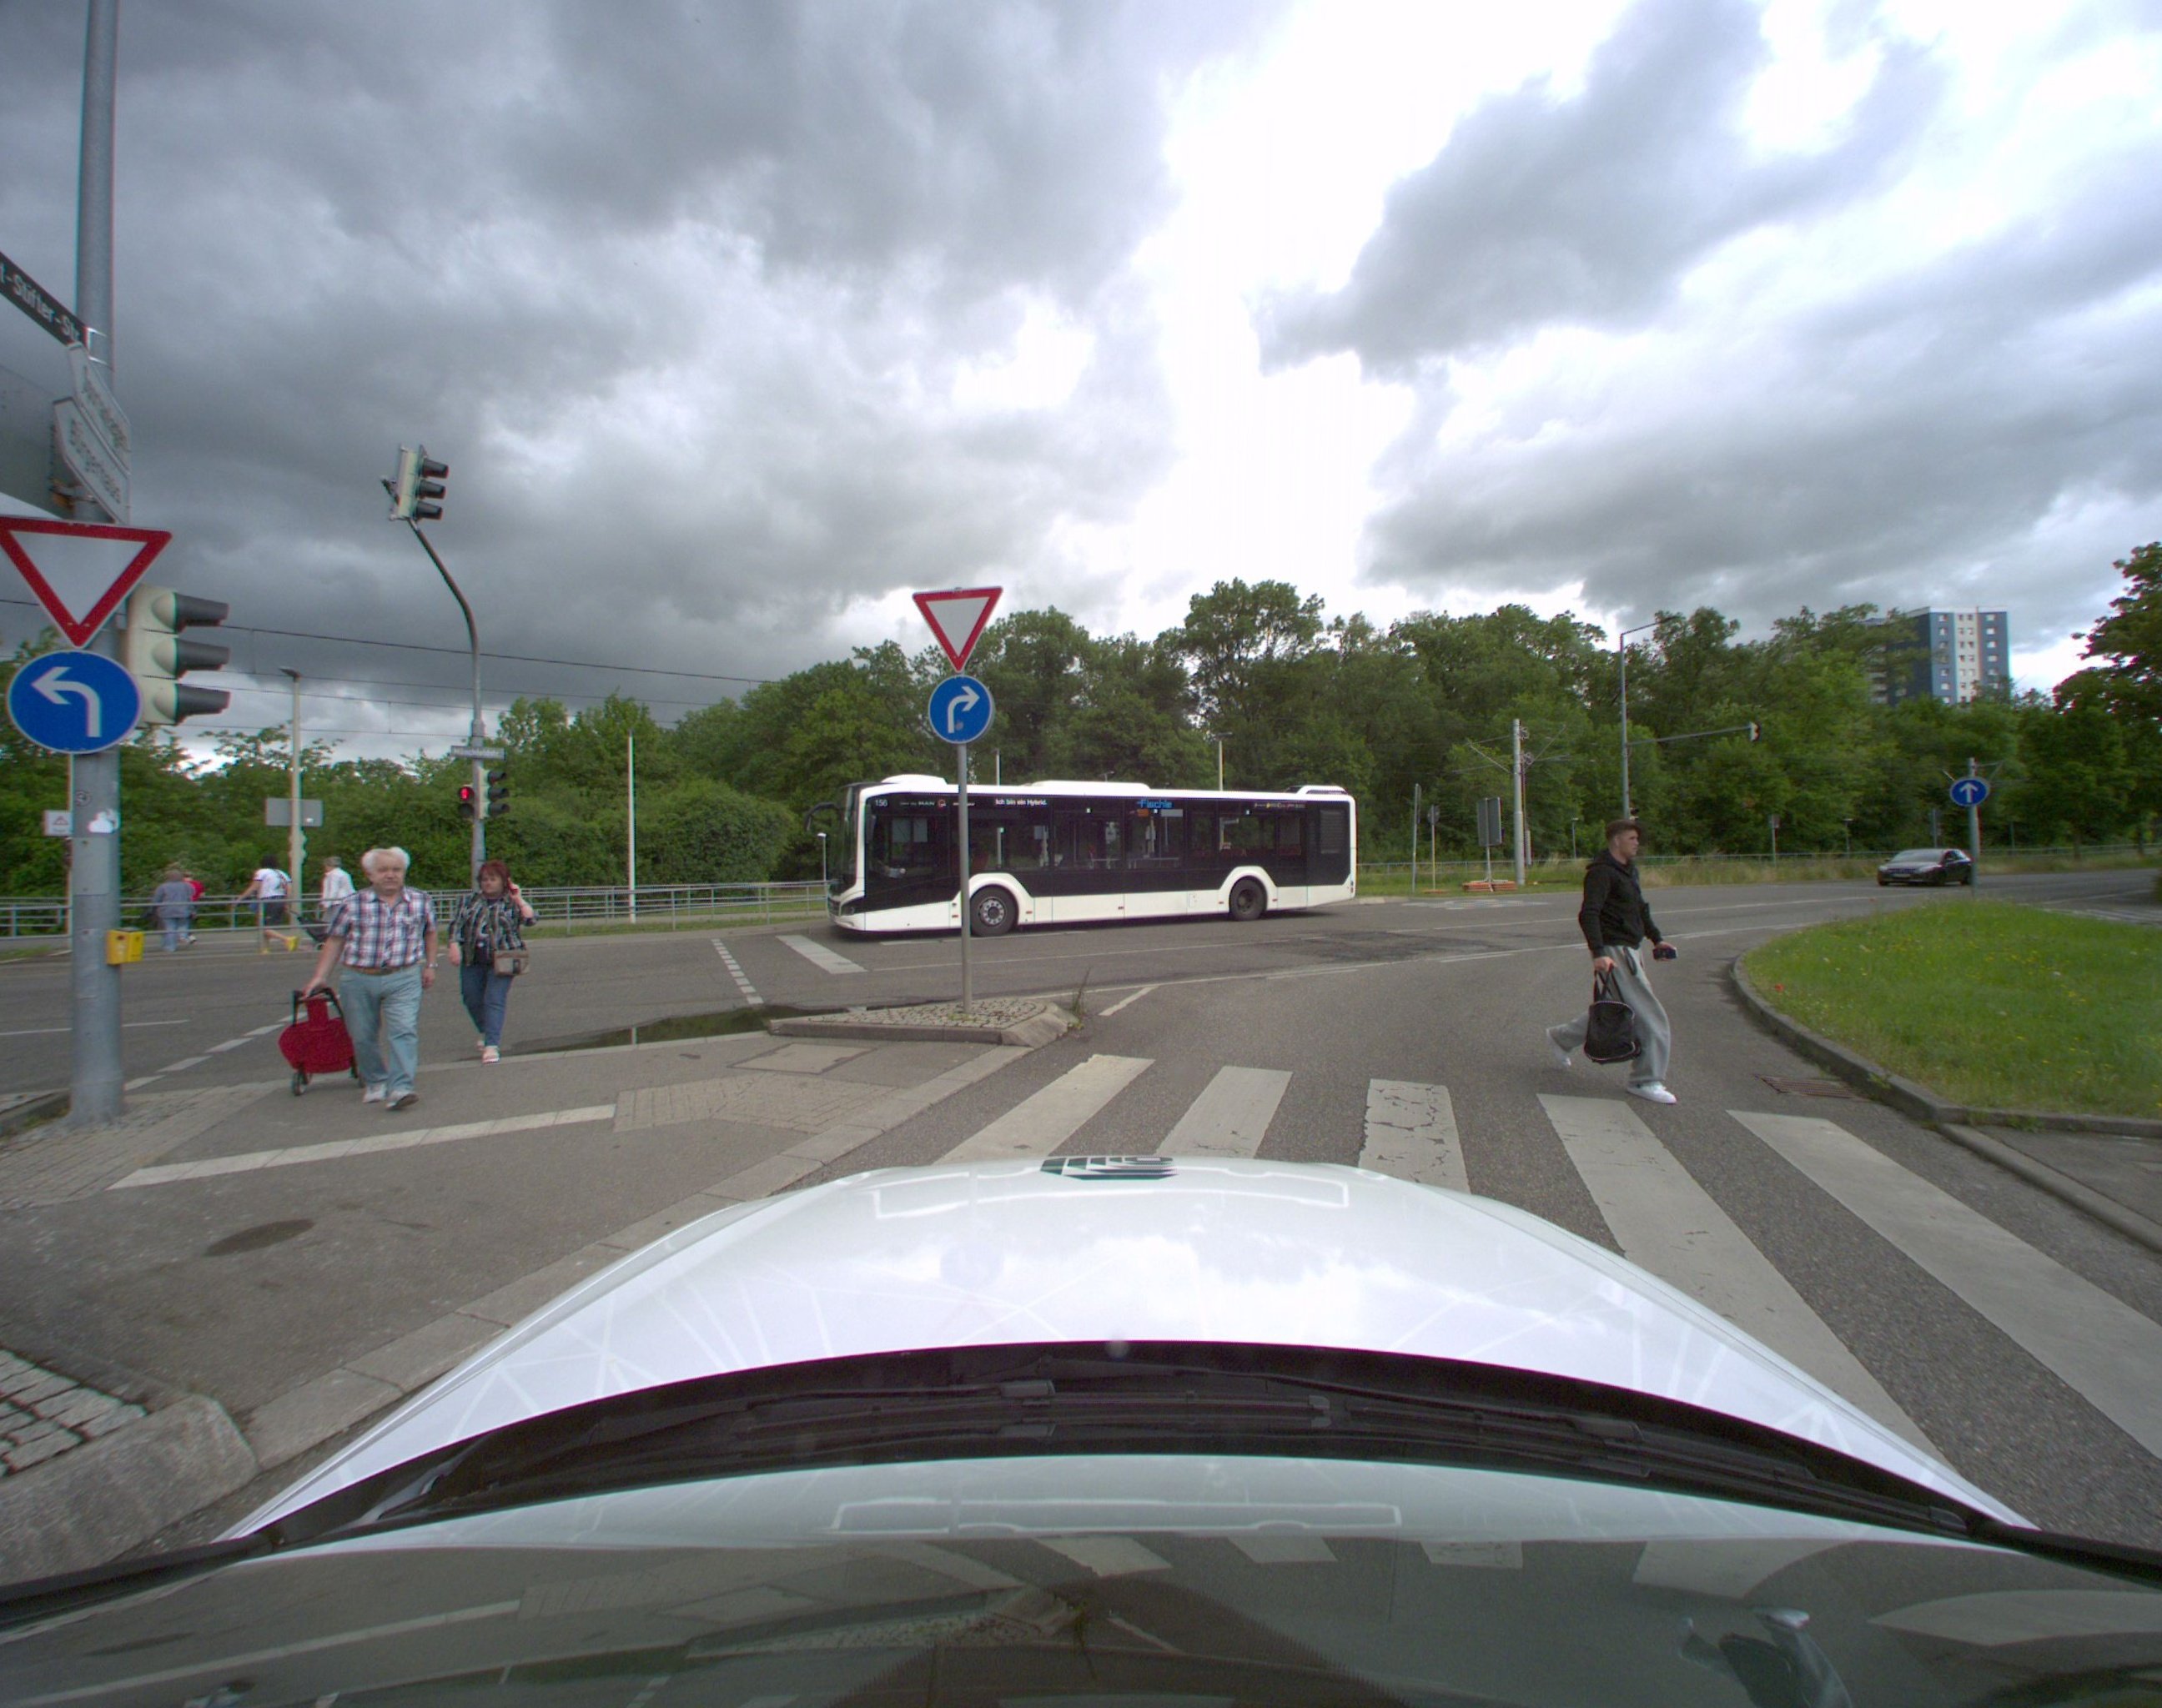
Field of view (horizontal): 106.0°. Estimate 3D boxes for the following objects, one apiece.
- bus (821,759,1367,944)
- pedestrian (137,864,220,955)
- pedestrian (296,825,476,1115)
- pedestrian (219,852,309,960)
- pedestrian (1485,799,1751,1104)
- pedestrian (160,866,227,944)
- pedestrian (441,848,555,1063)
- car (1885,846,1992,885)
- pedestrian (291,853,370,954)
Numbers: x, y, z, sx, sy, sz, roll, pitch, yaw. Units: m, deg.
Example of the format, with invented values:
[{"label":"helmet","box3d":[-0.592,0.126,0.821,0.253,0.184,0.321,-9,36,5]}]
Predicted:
[{"label":"bus","box3d":[0.797,-0.087,18.002,12.224,3.203,2.652,-1,-1,-27]},{"label":"pedestrian","box3d":[-18.027,1.073,16.287,0.961,1.748,0.715,0,-1,-35]},{"label":"pedestrian","box3d":[-4.329,0.669,5.133,0.701,1.633,0.715,-3,-1,-32]},{"label":"pedestrian","box3d":[-13.805,0.848,13.792,0.723,1.748,0.951,0,-1,-20]},{"label":"pedestrian","box3d":[3.424,0.561,5.297,0.955,1.747,1.057,0,-1,-12]},{"label":"pedestrian","box3d":[-19.088,1.081,17.539,0.724,1.621,0.798,0,-1,-26]},{"label":"pedestrian","box3d":[-4.610,0.746,6.441,0.695,1.567,0.724,0,-1,-38]},{"label":"car","box3d":[33.654,0.438,31.949,4.439,1.434,1.745,0,-1,-28]},{"label":"pedestrian","box3d":[-13.544,0.871,14.725,0.723,1.748,0.951,0,-1,-20]}]
